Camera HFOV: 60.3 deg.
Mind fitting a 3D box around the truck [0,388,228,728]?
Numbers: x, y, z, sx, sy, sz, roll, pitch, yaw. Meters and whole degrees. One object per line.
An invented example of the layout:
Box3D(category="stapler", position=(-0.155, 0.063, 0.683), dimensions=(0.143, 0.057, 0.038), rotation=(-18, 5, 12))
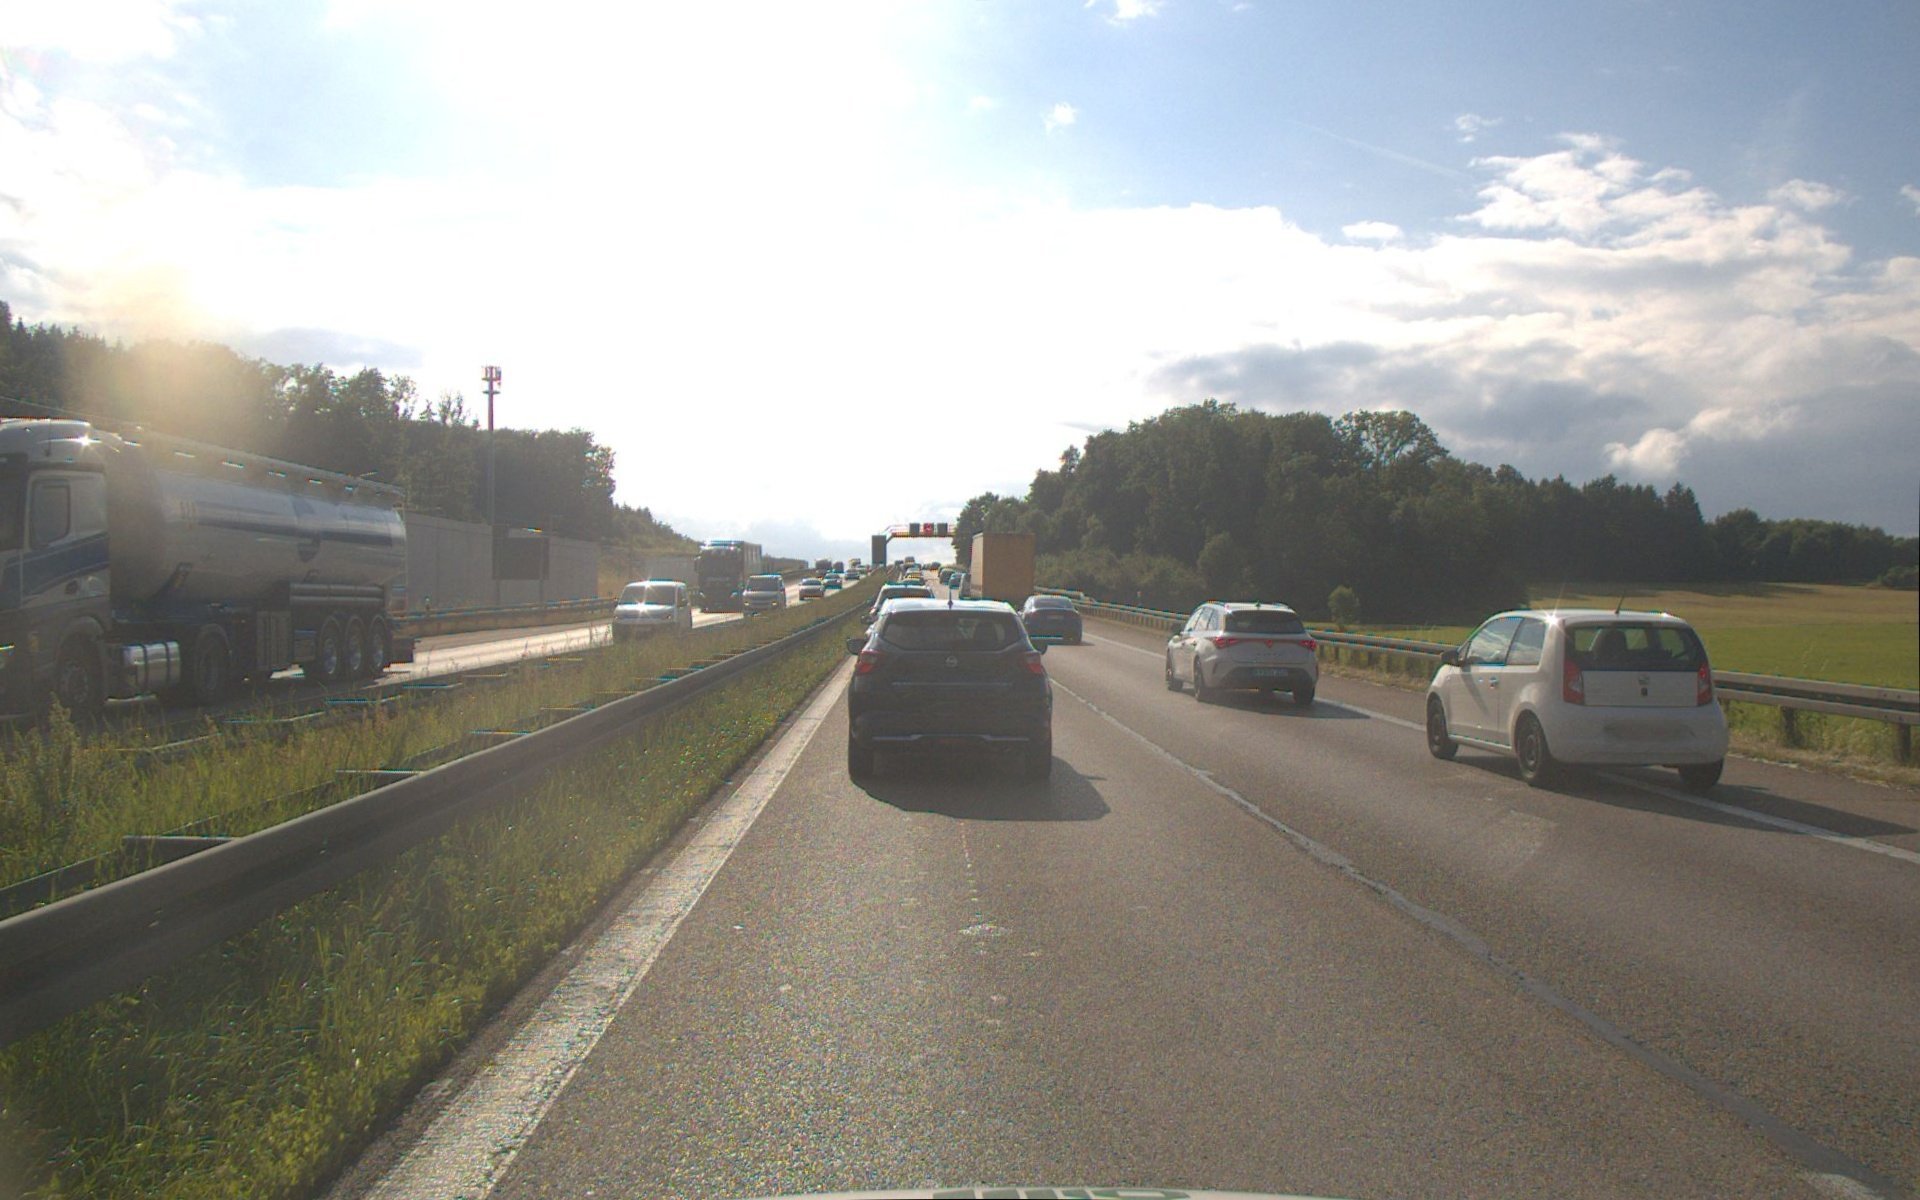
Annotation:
Box3D(category="truck", position=(-11.957, -0.436, 21.493), dimensions=(2.501, 3.865, 5.416), rotation=(-1, 0, -1))

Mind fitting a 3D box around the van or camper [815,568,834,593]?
Box3D(category="van or camper", position=(-17.922, -2.583, 219.427), dimensions=(2.181, 3.133, 6.510), rotation=(1, 0, -2))

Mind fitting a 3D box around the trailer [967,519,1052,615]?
Box3D(category="trailer", position=(2.368, -1.538, 85.231), dimensions=(3.477, 4.535, 12.716), rotation=(1, 0, -2))

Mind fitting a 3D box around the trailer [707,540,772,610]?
Box3D(category="trailer", position=(-13.937, -1.438, 105.617), dimensions=(2.704, 4.187, 12.899), rotation=(0, 0, -1))

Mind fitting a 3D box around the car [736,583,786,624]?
Box3D(category="car", position=(-9.886, 0.201, 82.442), dimensions=(1.953, 1.916, 4.785), rotation=(-2, 0, -1))

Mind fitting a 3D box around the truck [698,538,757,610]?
Box3D(category="truck", position=(-13.846, -1.488, 98.936), dimensions=(2.698, 4.162, 6.951), rotation=(0, 0, -2))

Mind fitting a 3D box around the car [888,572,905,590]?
Box3D(category="car", position=(-7.728, -2.284, 200.379), dimensions=(1.953, 2.049, 3.998), rotation=(1, 0, -2))

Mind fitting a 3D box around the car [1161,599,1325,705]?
Box3D(category="car", position=(4.237, 0.745, 25.309), dimensions=(1.588, 1.471, 4.144), rotation=(1, 0, -3))

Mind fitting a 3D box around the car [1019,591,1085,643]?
Box3D(category="car", position=(2.788, 0.506, 50.814), dimensions=(1.711, 1.501, 4.146), rotation=(1, 0, -1))

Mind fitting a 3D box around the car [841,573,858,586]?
Box3D(category="car", position=(-13.742, -2.509, 205.339), dimensions=(1.953, 1.458, 4.446), rotation=(1, 0, -2))

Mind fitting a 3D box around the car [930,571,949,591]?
Box3D(category="car", position=(-2.218, -2.080, 181.550), dimensions=(1.953, 2.049, 3.998), rotation=(1, 0, -2))

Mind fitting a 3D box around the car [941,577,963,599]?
Box3D(category="car", position=(-0.783, -1.124, 161.452), dimensions=(1.953, 2.049, 3.998), rotation=(1, 0, -2))

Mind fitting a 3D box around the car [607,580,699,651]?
Box3D(category="car", position=(-8.510, 0.419, 46.207), dimensions=(1.822, 1.866, 4.279), rotation=(1, 0, -1))

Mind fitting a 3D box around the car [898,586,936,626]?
Box3D(category="car", position=(-2.307, 0.310, 87.946), dimensions=(1.953, 2.049, 3.998), rotation=(1, 0, -2))

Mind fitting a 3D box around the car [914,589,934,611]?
Box3D(category="car", position=(-3.009, 0.000, 139.438), dimensions=(1.633, 1.785, 3.326), rotation=(1, 0, 0))

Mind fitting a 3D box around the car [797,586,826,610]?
Box3D(category="car", position=(-11.010, -0.125, 123.021), dimensions=(1.850, 1.660, 5.108), rotation=(1, 0, -2))

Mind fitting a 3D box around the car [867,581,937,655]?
Box3D(category="car", position=(-1.427, 0.447, 41.514), dimensions=(1.640, 1.756, 3.595), rotation=(1, -1, -1))

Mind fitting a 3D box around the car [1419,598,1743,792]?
Box3D(category="car", position=(5.477, 0.765, 15.026), dimensions=(1.518, 1.521, 3.376), rotation=(1, 0, -3))

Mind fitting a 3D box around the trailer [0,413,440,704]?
Box3D(category="trailer", position=(-12.065, -0.516, 28.318), dimensions=(2.489, 3.837, 12.538), rotation=(-1, 0, -1))

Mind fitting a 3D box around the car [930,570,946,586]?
Box3D(category="car", position=(-2.912, -2.890, 218.587), dimensions=(1.953, 2.049, 3.998), rotation=(1, 0, -2))

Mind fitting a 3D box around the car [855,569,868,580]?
Box3D(category="car", position=(-15.228, -3.981, 255.615), dimensions=(1.953, 1.621, 4.446), rotation=(1, 0, -2))

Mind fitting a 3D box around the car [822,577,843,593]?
Box3D(category="car", position=(-12.487, -1.486, 162.567), dimensions=(1.864, 1.490, 4.182), rotation=(1, 0, -2))

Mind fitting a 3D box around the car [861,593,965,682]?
Box3D(category="car", position=(-0.766, 0.609, 28.179), dimensions=(1.640, 1.391, 3.595), rotation=(1, 0, -1))

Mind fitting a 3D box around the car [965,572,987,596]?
Box3D(category="car", position=(1.217, -1.221, 126.651), dimensions=(1.633, 1.785, 3.326), rotation=(1, 0, 0))

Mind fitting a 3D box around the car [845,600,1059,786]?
Box3D(category="car", position=(-0.064, 0.750, 14.815), dimensions=(1.675, 1.451, 3.377), rotation=(1, -1, 0))
